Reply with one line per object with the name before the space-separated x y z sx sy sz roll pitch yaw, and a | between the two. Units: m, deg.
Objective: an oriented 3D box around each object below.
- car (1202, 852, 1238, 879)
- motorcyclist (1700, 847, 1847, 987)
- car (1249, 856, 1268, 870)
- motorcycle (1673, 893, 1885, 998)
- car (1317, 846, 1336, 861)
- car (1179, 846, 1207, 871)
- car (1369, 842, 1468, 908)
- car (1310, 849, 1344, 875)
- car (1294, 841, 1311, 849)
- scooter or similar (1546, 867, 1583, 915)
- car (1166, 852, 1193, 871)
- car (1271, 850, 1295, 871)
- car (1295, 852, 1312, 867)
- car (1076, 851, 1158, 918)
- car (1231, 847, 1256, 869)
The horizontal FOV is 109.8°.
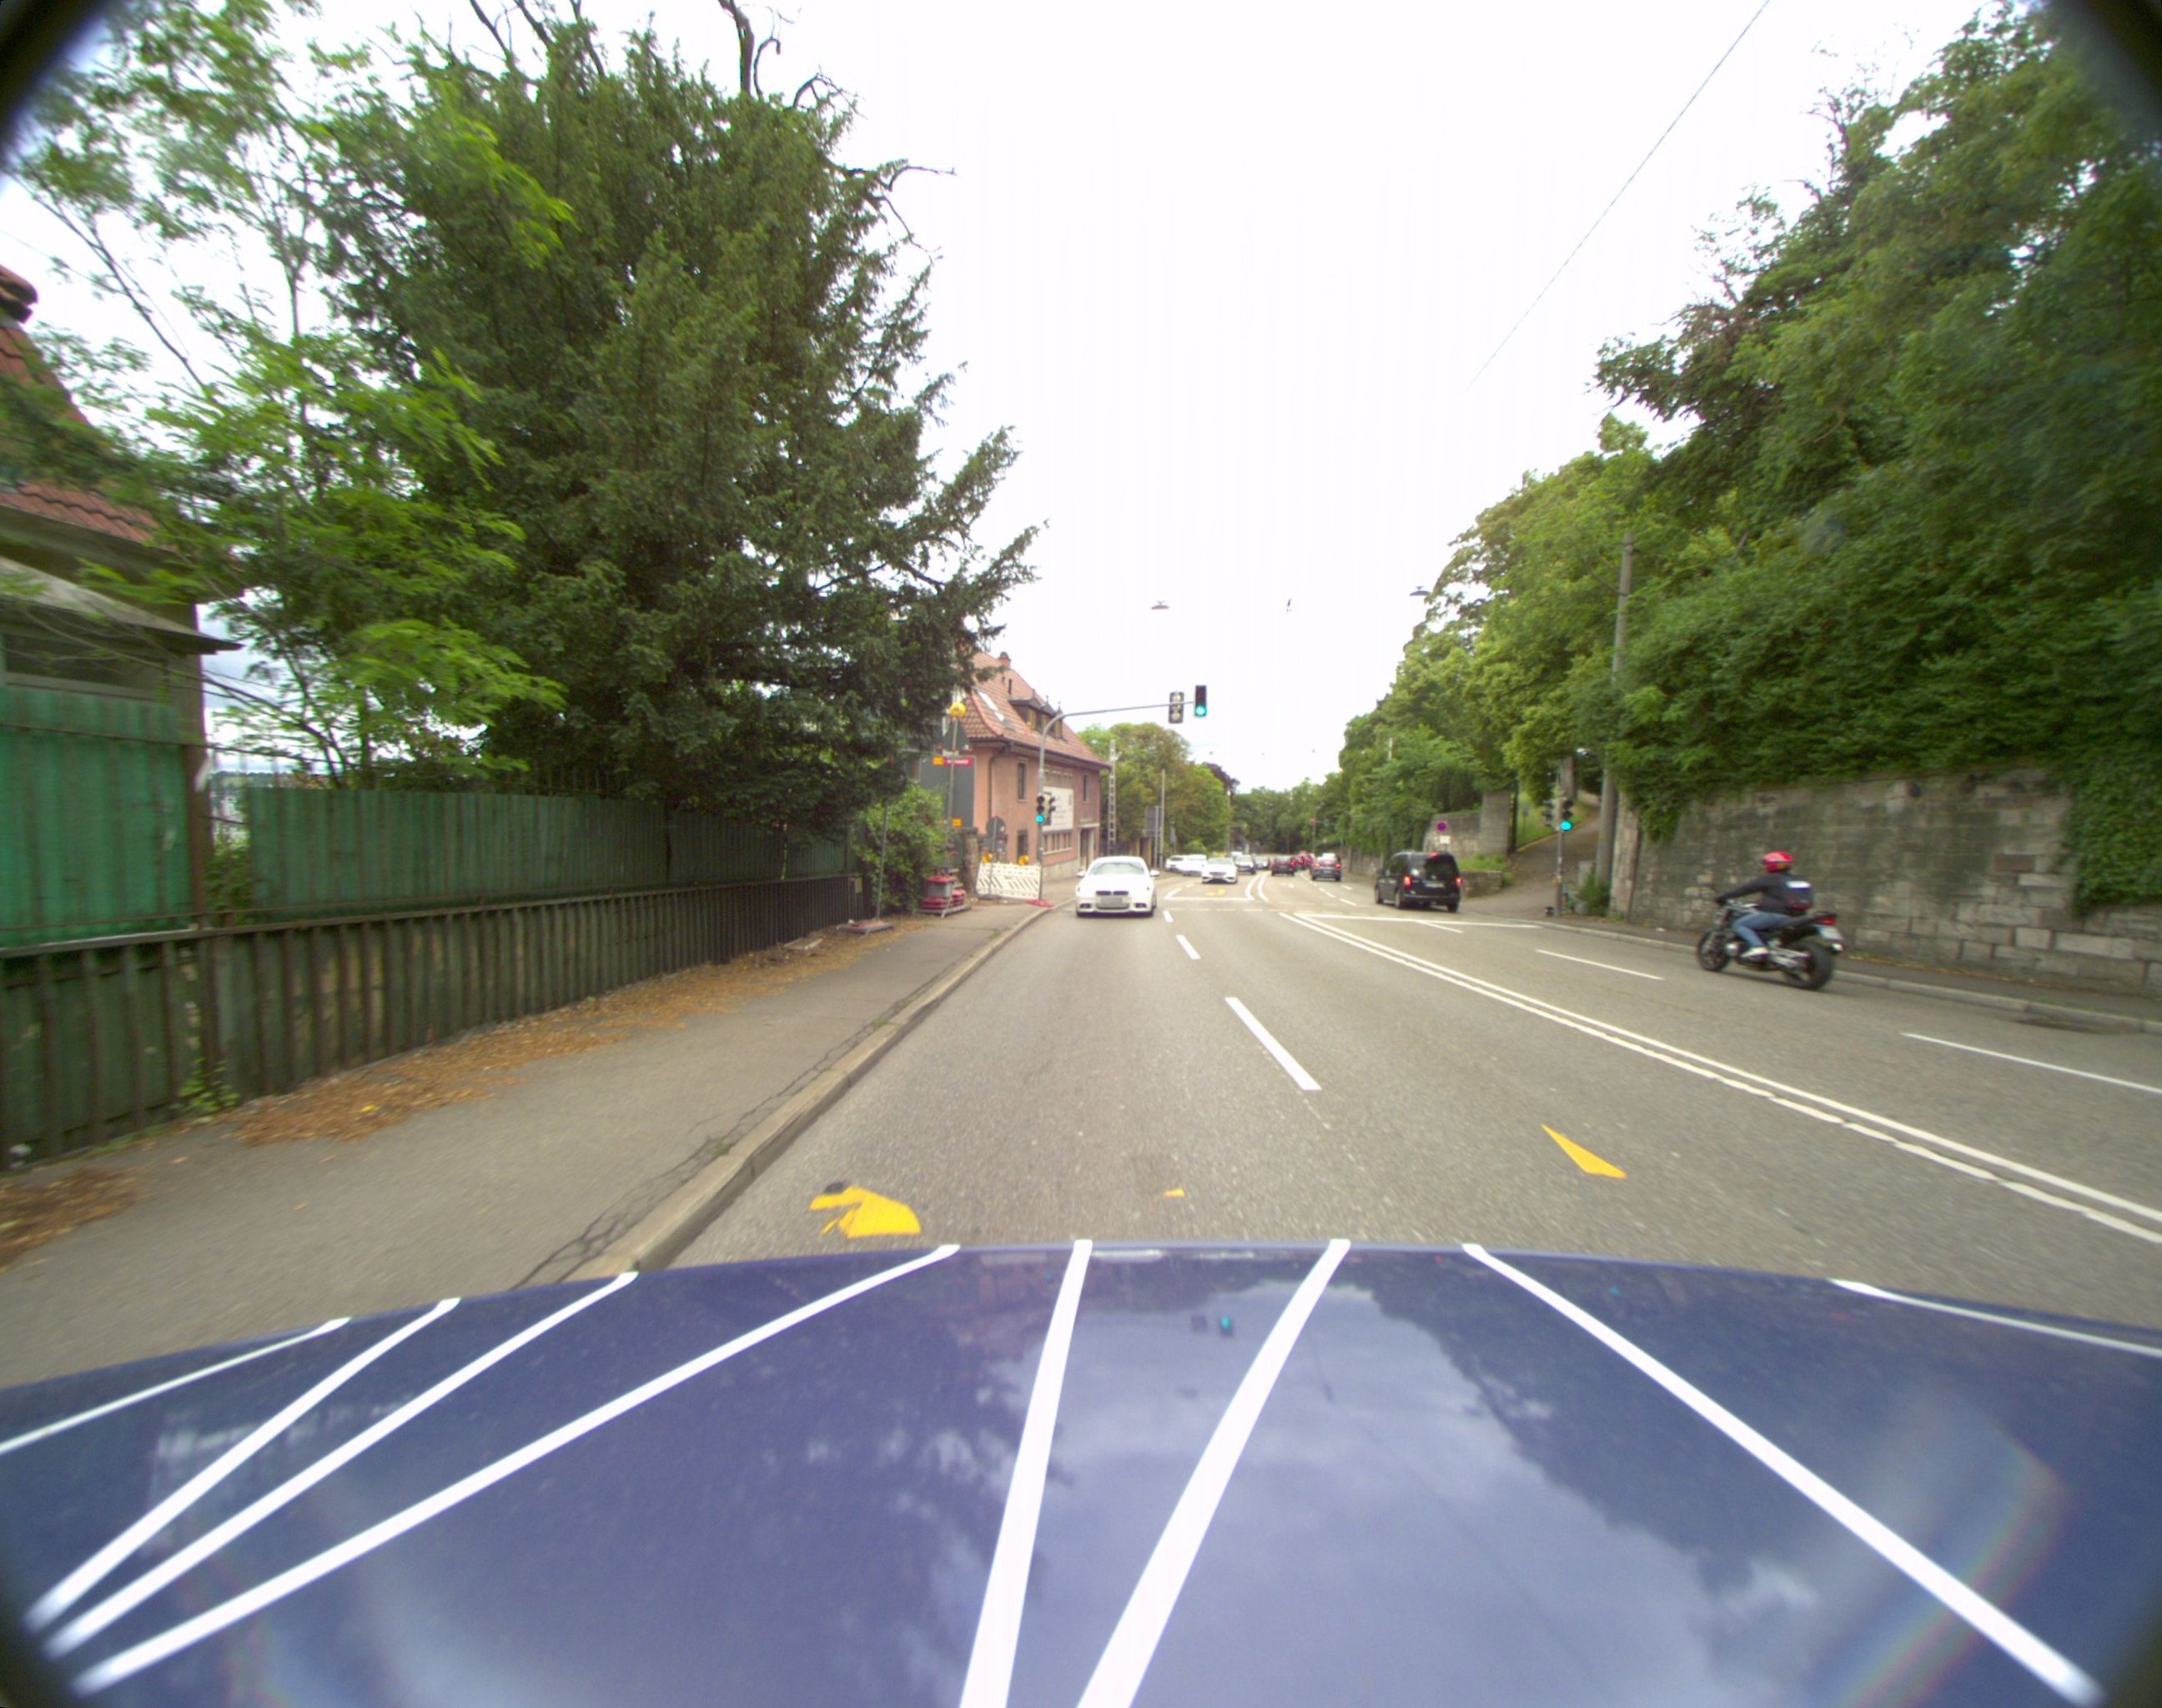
car | 7.463 0.604 40.936 1.801 1.382 3.530 1 0 10
motorcyclist | 9.011 0.766 9.959 0.650 1.695 1.338 2 1 1
car | 18.944 0.911 81.220 1.833 1.369 4.004 1 1 15
motorcycle | 9.007 1.127 9.983 0.651 1.067 2.308 2 0 1
car | 30.526 -0.081 94.598 1.895 1.837 4.401 2 1 14
car | 8.354 0.288 56.481 1.957 1.761 4.002 1 0 8
car | 10.658 0.613 24.321 1.746 1.835 4.252 3 0 8
car | 16.640 0.531 51.531 1.995 1.598 4.482 3 1 17
car | 38.753 -1.612 133.181 1.847 1.401 4.455 2 1 2
scooter or similar | 13.305 1.013 20.907 1.100 1.230 0.433 -4 1 -35
car | 8.503 0.644 65.198 1.677 1.453 4.370 3 1 15
car | 16.068 0.470 60.495 1.756 1.557 3.683 2 1 15
car | 26.995 0.597 92.081 1.962 1.739 4.884 1 0 17
car | 0.953 0.682 19.635 1.822 1.463 4.785 2 1 3
car | 13.489 0.342 63.086 1.956 1.730 4.003 1 0 11
